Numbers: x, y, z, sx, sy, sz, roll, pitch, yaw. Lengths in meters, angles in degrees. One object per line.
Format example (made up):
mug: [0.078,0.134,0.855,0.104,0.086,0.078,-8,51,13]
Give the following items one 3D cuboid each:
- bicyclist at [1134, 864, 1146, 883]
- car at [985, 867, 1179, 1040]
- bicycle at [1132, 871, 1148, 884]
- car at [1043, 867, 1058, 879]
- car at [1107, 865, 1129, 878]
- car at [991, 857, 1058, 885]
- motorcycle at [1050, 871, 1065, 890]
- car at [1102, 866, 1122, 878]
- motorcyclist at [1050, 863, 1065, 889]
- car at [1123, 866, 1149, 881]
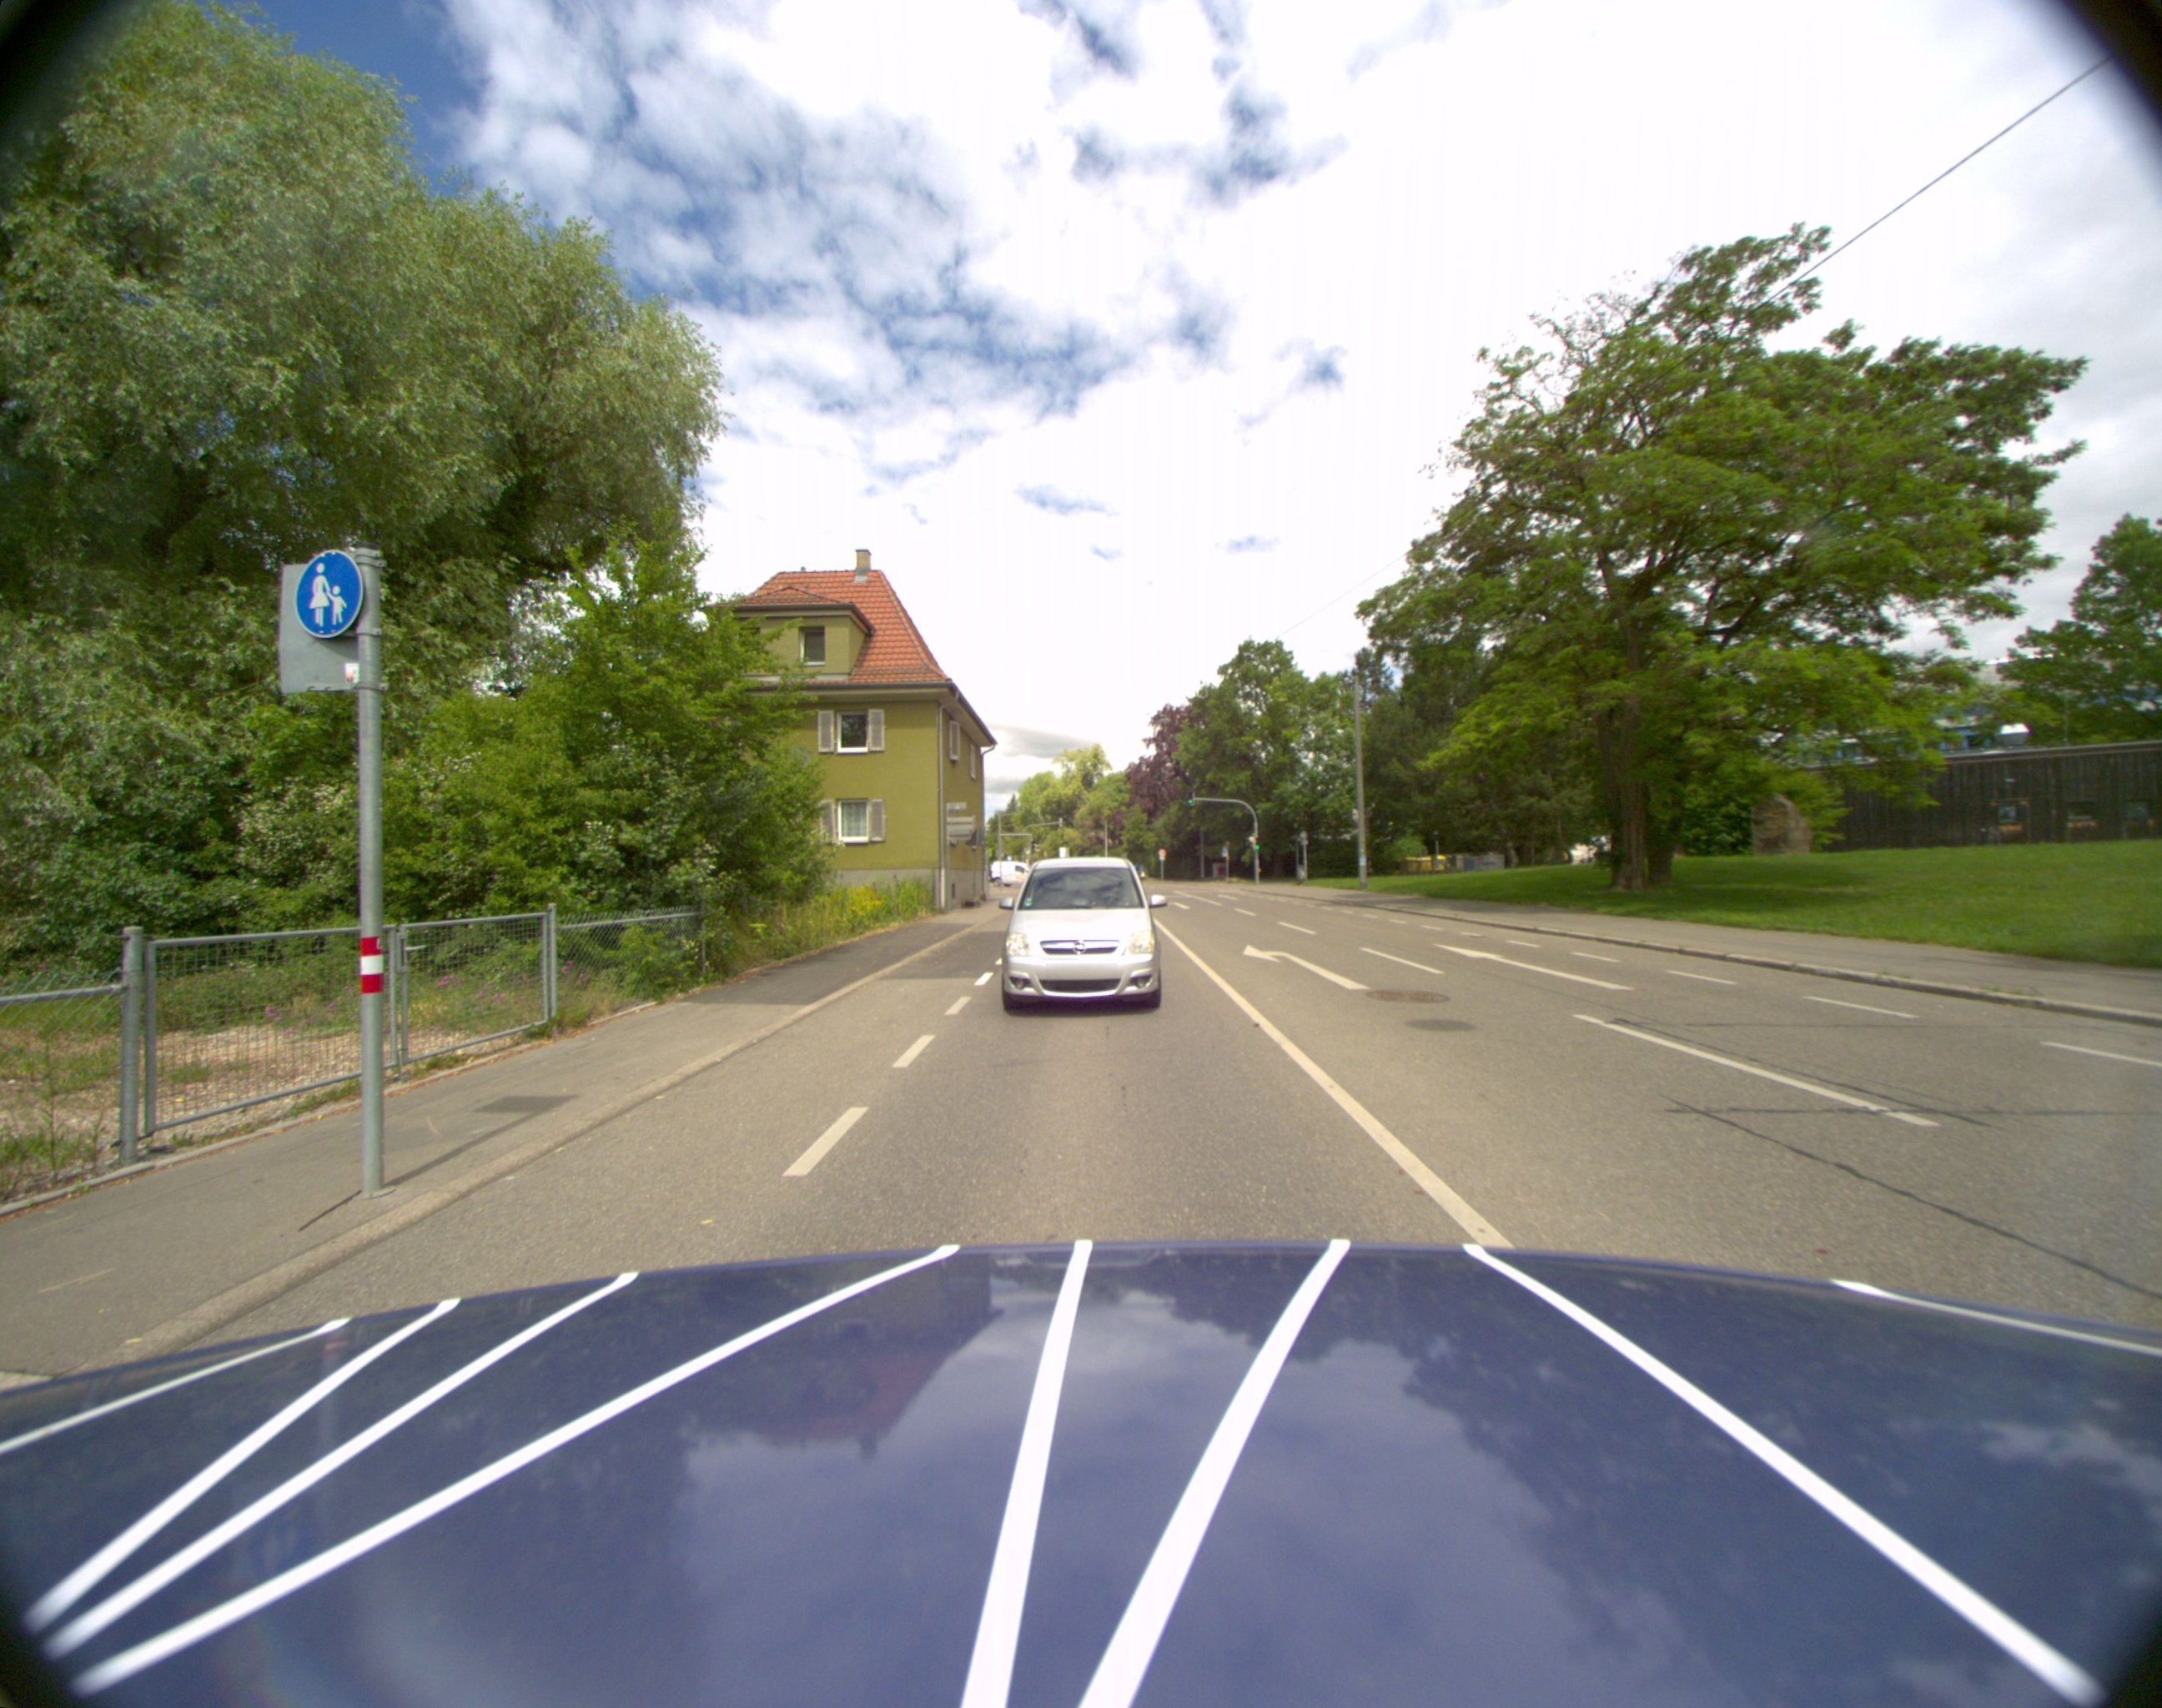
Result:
bicyclist: [5.144,1.698,66.054,0.808,1.599,0.771,-3,0,-13]
car: [0.069,0.969,9.103,1.780,1.519,4.000,-1,0,2]
bicycle: [5.140,2.042,66.096,0.814,1.101,1.798,-3,0,-13]
car: [-3.997,2.474,101.204,1.799,1.501,4.000,-3,-1,0]
car: [4.311,2.048,88.406,1.900,1.501,3.998,0,-1,-6]
car: [-4.081,1.227,55.033,4.361,1.983,2.003,-1,0,19]
motorcycle: [-1.445,1.617,46.608,0.837,1.101,1.800,0,0,0]
car: [3.741,2.193,93.214,1.900,1.501,3.998,0,-1,-6]
motorcyclist: [-1.436,1.358,46.638,0.837,1.547,0.650,0,0,0]
car: [5.603,1.980,77.766,1.900,1.501,3.998,0,-1,-6]
